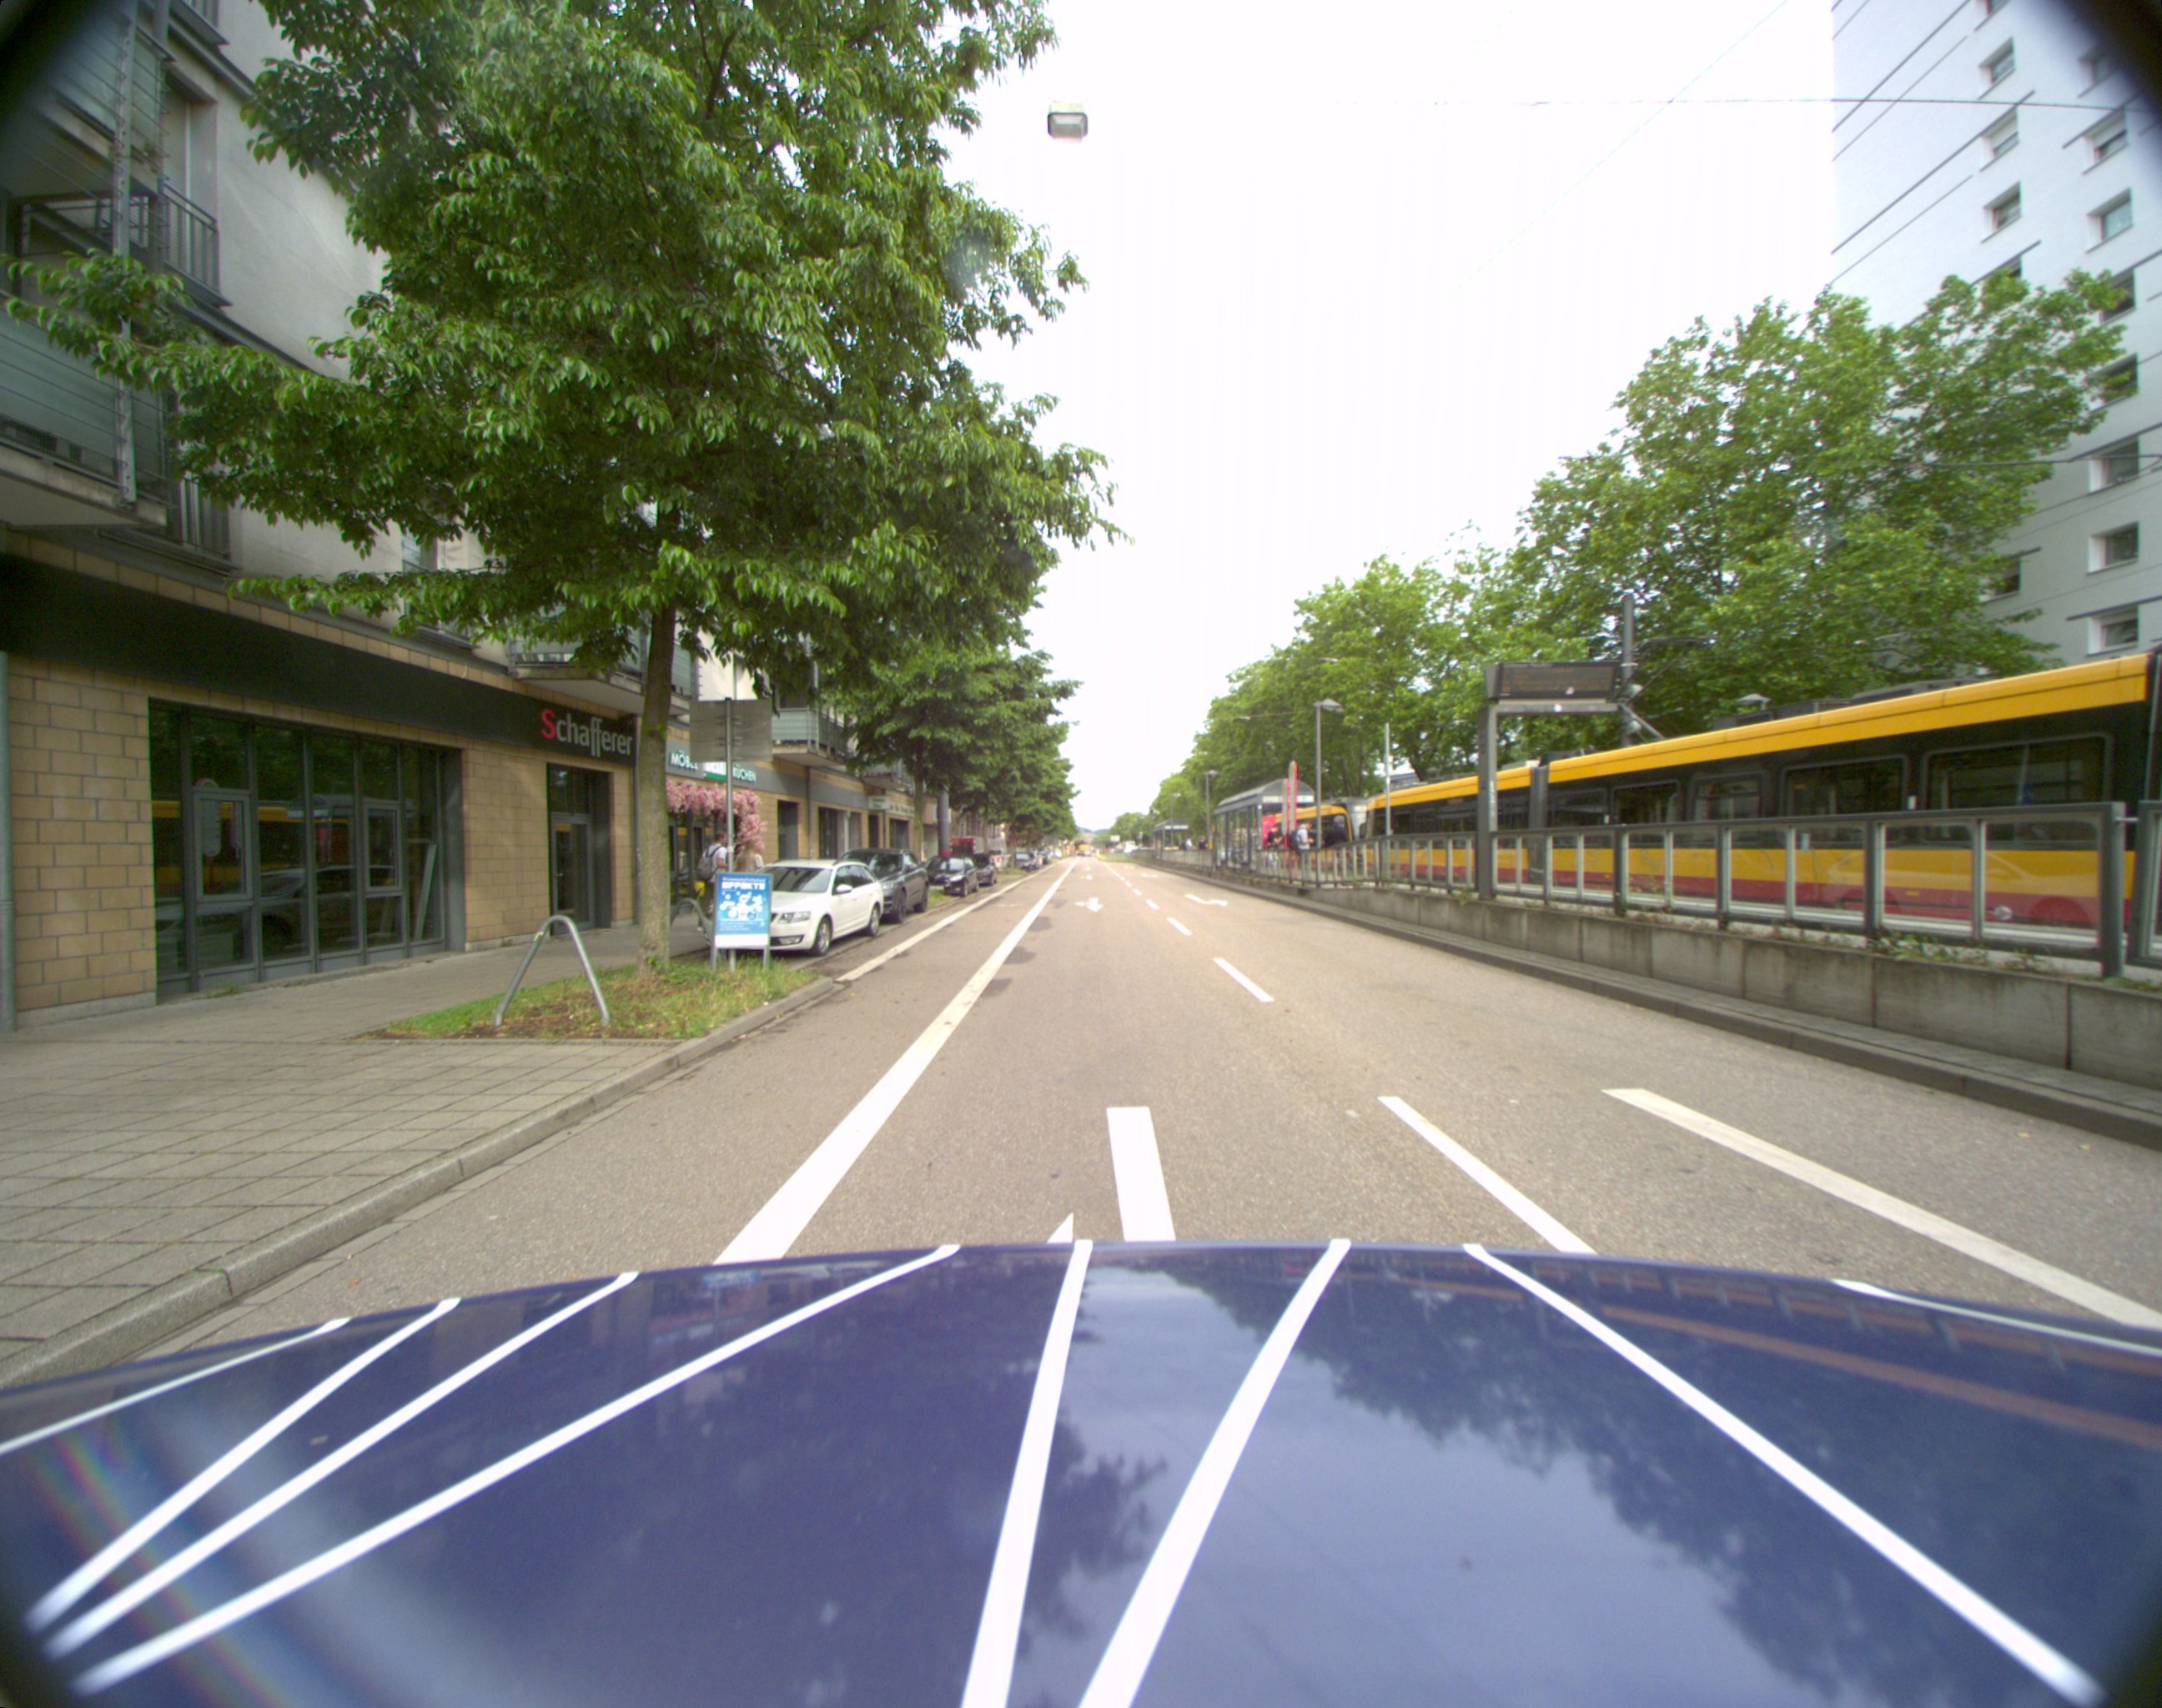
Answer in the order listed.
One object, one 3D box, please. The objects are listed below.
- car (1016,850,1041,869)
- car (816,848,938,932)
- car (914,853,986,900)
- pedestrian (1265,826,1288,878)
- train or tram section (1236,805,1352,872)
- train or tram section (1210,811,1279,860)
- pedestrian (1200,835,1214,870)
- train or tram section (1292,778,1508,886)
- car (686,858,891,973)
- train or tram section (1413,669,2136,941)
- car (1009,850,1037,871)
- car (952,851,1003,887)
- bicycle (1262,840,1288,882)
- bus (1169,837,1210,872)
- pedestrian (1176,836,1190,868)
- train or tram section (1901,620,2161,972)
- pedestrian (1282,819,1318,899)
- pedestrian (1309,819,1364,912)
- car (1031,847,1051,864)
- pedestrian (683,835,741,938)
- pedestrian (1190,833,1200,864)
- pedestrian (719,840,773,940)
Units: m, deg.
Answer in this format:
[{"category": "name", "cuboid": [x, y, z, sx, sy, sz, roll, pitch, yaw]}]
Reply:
[{"category": "car", "cuboid": [-4.292, 0.442, 62.672, 1.755, 1.452, 4.279, 1, 1, 0]}, {"category": "car", "cuboid": [-4.750, 0.739, 18.413, 1.716, 1.707, 4.710, 2, 1, -1]}, {"category": "car", "cuboid": [-4.618, 0.737, 27.367, 1.680, 1.433, 4.407, 2, 1, 2]}, {"category": "pedestrian", "cuboid": [6.226, -0.065, 24.211, 0.532, 1.623, 0.471, -2, 1, -2]}, {"category": "train or tram section", "cuboid": [13.004, -0.955, 48.627, 3.067, 3.511, 15.769, -2, 1, 1]}, {"category": "train or tram section", "cuboid": [13.202, -1.470, 62.776, 3.100, 3.541, 12.537, -2, 1, 1]}, {"category": "pedestrian", "cuboid": [6.039, -0.069, 36.450, 0.513, 1.623, 0.730, -2, 1, 2]}, {"category": "train or tram section", "cuboid": [12.824, -0.844, 33.104, 3.067, 3.511, 15.292, -2, 1, 1]}, {"category": "car", "cuboid": [-4.712, 0.886, 12.999, 1.680, 1.490, 4.389, 2, 1, 2]}, {"category": "train or tram section", "cuboid": [12.626, -0.764, 17.793, 3.067, 3.511, 15.292, -2, 1, 1]}, {"category": "car", "cuboid": [-4.295, 0.475, 56.512, 1.755, 1.452, 4.279, 1, 1, 0]}, {"category": "car", "cuboid": [-4.702, 0.631, 35.027, 1.802, 1.447, 4.387, 2, 1, -1]}, {"category": "bicycle", "cuboid": [5.866, 0.192, 23.029, 0.420, 1.215, 1.289, -2, 1, 0]}, {"category": "bus", "cuboid": [6.833, -0.002, 48.045, 1.998, 2.002, 3.999, -2, 1, 1]}, {"category": "pedestrian", "cuboid": [6.523, -0.154, 48.645, 0.676, 2.002, 0.588, -2, 1, -2]}, {"category": "train or tram section", "cuboid": [12.443, -0.549, 2.234, 3.067, 3.568, 15.846, -2, 1, 1]}, {"category": "pedestrian", "cuboid": [5.694, 0.126, 19.728, 0.753, 2.002, 0.819, -2, 2, 24]}, {"category": "pedestrian", "cuboid": [5.678, 0.239, 16.876, 0.756, 2.002, 0.816, -3, 2, -36]}, {"category": "car", "cuboid": [-4.095, 0.143, 78.816, 1.837, 1.720, 4.279, 1, 1, 0]}, {"category": "pedestrian", "cuboid": [-6.885, 0.595, 14.193, 0.676, 1.880, 0.737, 0, 1, 2]}, {"category": "pedestrian", "cuboid": [6.184, -0.301, 41.255, 0.480, 1.623, 0.392, -2, 1, 2]}, {"category": "pedestrian", "cuboid": [-6.149, 0.639, 13.973, 0.617, 1.795, 0.737, 0, 1, 2]}]
